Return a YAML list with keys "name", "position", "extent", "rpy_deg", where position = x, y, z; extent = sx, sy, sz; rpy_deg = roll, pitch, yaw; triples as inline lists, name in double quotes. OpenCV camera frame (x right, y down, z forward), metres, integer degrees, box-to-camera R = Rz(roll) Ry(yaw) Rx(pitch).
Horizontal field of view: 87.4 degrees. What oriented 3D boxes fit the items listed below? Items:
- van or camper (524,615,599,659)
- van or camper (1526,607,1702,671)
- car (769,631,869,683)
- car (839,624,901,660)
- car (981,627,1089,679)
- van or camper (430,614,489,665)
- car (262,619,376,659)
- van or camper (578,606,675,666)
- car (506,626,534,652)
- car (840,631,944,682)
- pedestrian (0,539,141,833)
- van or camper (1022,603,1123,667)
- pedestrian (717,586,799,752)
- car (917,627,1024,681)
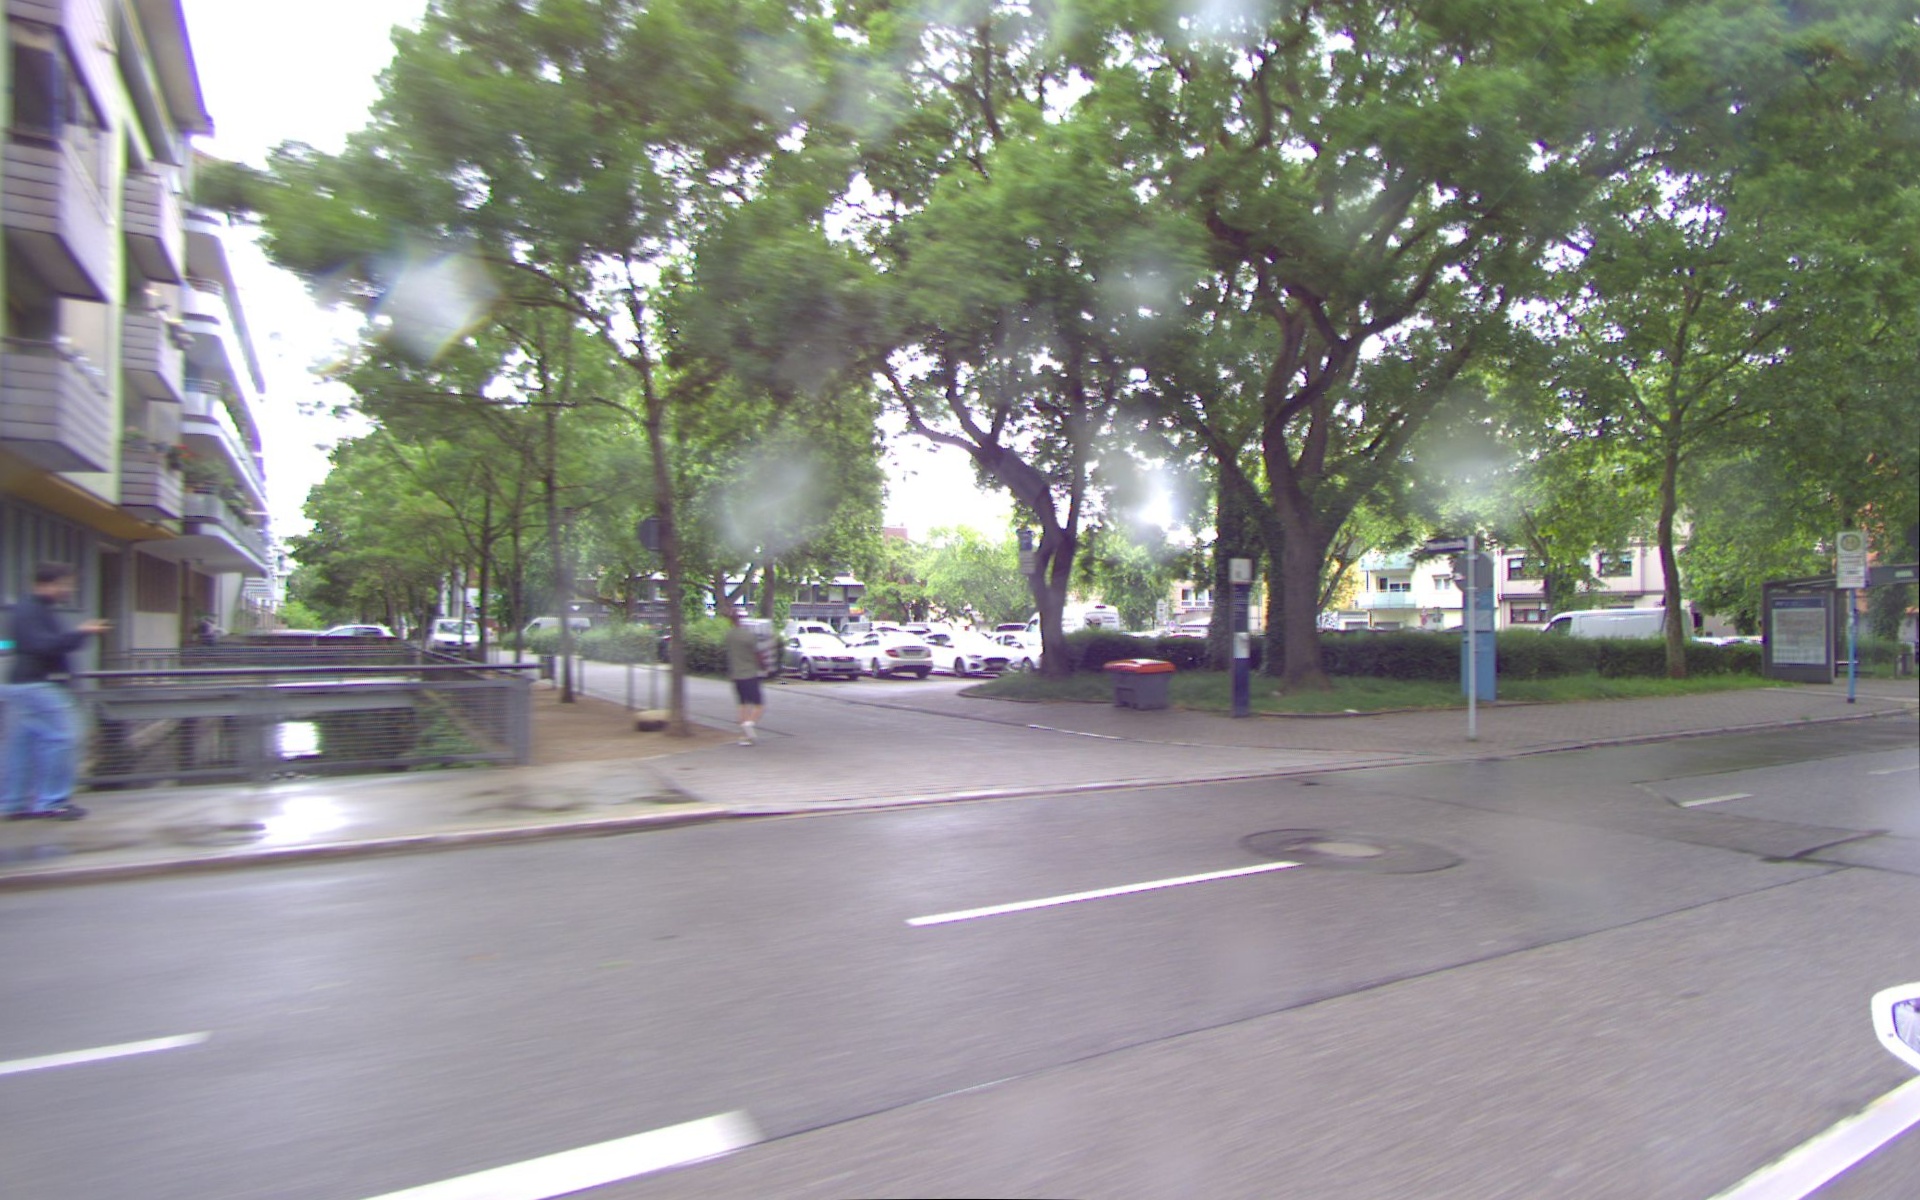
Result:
- name: "van or camper"
  position: [-23.635, 2.122, 59.241]
  extent: [2.912, 2.433, 8.585]
  rpy_deg: [1, -2, -30]
- name: "van or camper"
  position: [21.815, 1.276, 33.708]
  extent: [1.978, 1.975, 4.572]
  rpy_deg: [1, -1, -32]
- name: "car"
  position: [-4.374, 1.698, 30.801]
  extent: [1.841, 1.483, 3.614]
  rpy_deg: [1, -2, -29]
- name: "car"
  position: [-4.855, 2.247, 53.795]
  extent: [1.782, 1.848, 3.968]
  rpy_deg: [1, -2, -30]
- name: "car"
  position: [2.493, 1.759, 34.371]
  extent: [1.841, 1.647, 3.971]
  rpy_deg: [1, -2, -28]
- name: "van or camper"
  position: [-21.896, 1.739, 43.862]
  extent: [1.807, 2.040, 4.597]
  rpy_deg: [3, -4, -32]
- name: "car"
  position: [-27.127, 1.657, 42.647]
  extent: [3.953, 1.617, 1.768]
  rpy_deg: [2, -1, -30]
- name: "van or camper"
  position: [-15.145, 1.573, 45.131]
  extent: [2.532, 2.433, 8.587]
  rpy_deg: [1, -2, -29]
- name: "car"
  position: [-30.771, 2.728, 70.226]
  extent: [1.506, 1.568, 3.844]
  rpy_deg: [1, 1, -28]
- name: "car"
  position: [-2.243, 1.750, 32.071]
  extent: [1.841, 1.483, 3.971]
  rpy_deg: [1, -2, -28]
- name: "pedestrian"
  position: [-6.654, 0.604, 7.383]
  extent: [0.771, 2.040, 0.748]
  rpy_deg: [1, -1, -23]
- name: "van or camper"
  position: [4.561, 1.422, 41.440]
  extent: [2.074, 2.463, 4.310]
  rpy_deg: [1, -1, -28]
- name: "pedestrian"
  position: [-2.503, 0.829, 12.400]
  extent: [0.808, 1.950, 0.914]
  rpy_deg: [1, -1, -24]
- name: "car"
  position: [0.283, 1.714, 33.153]
  extent: [1.841, 1.647, 4.022]
  rpy_deg: [1, -2, -28]
